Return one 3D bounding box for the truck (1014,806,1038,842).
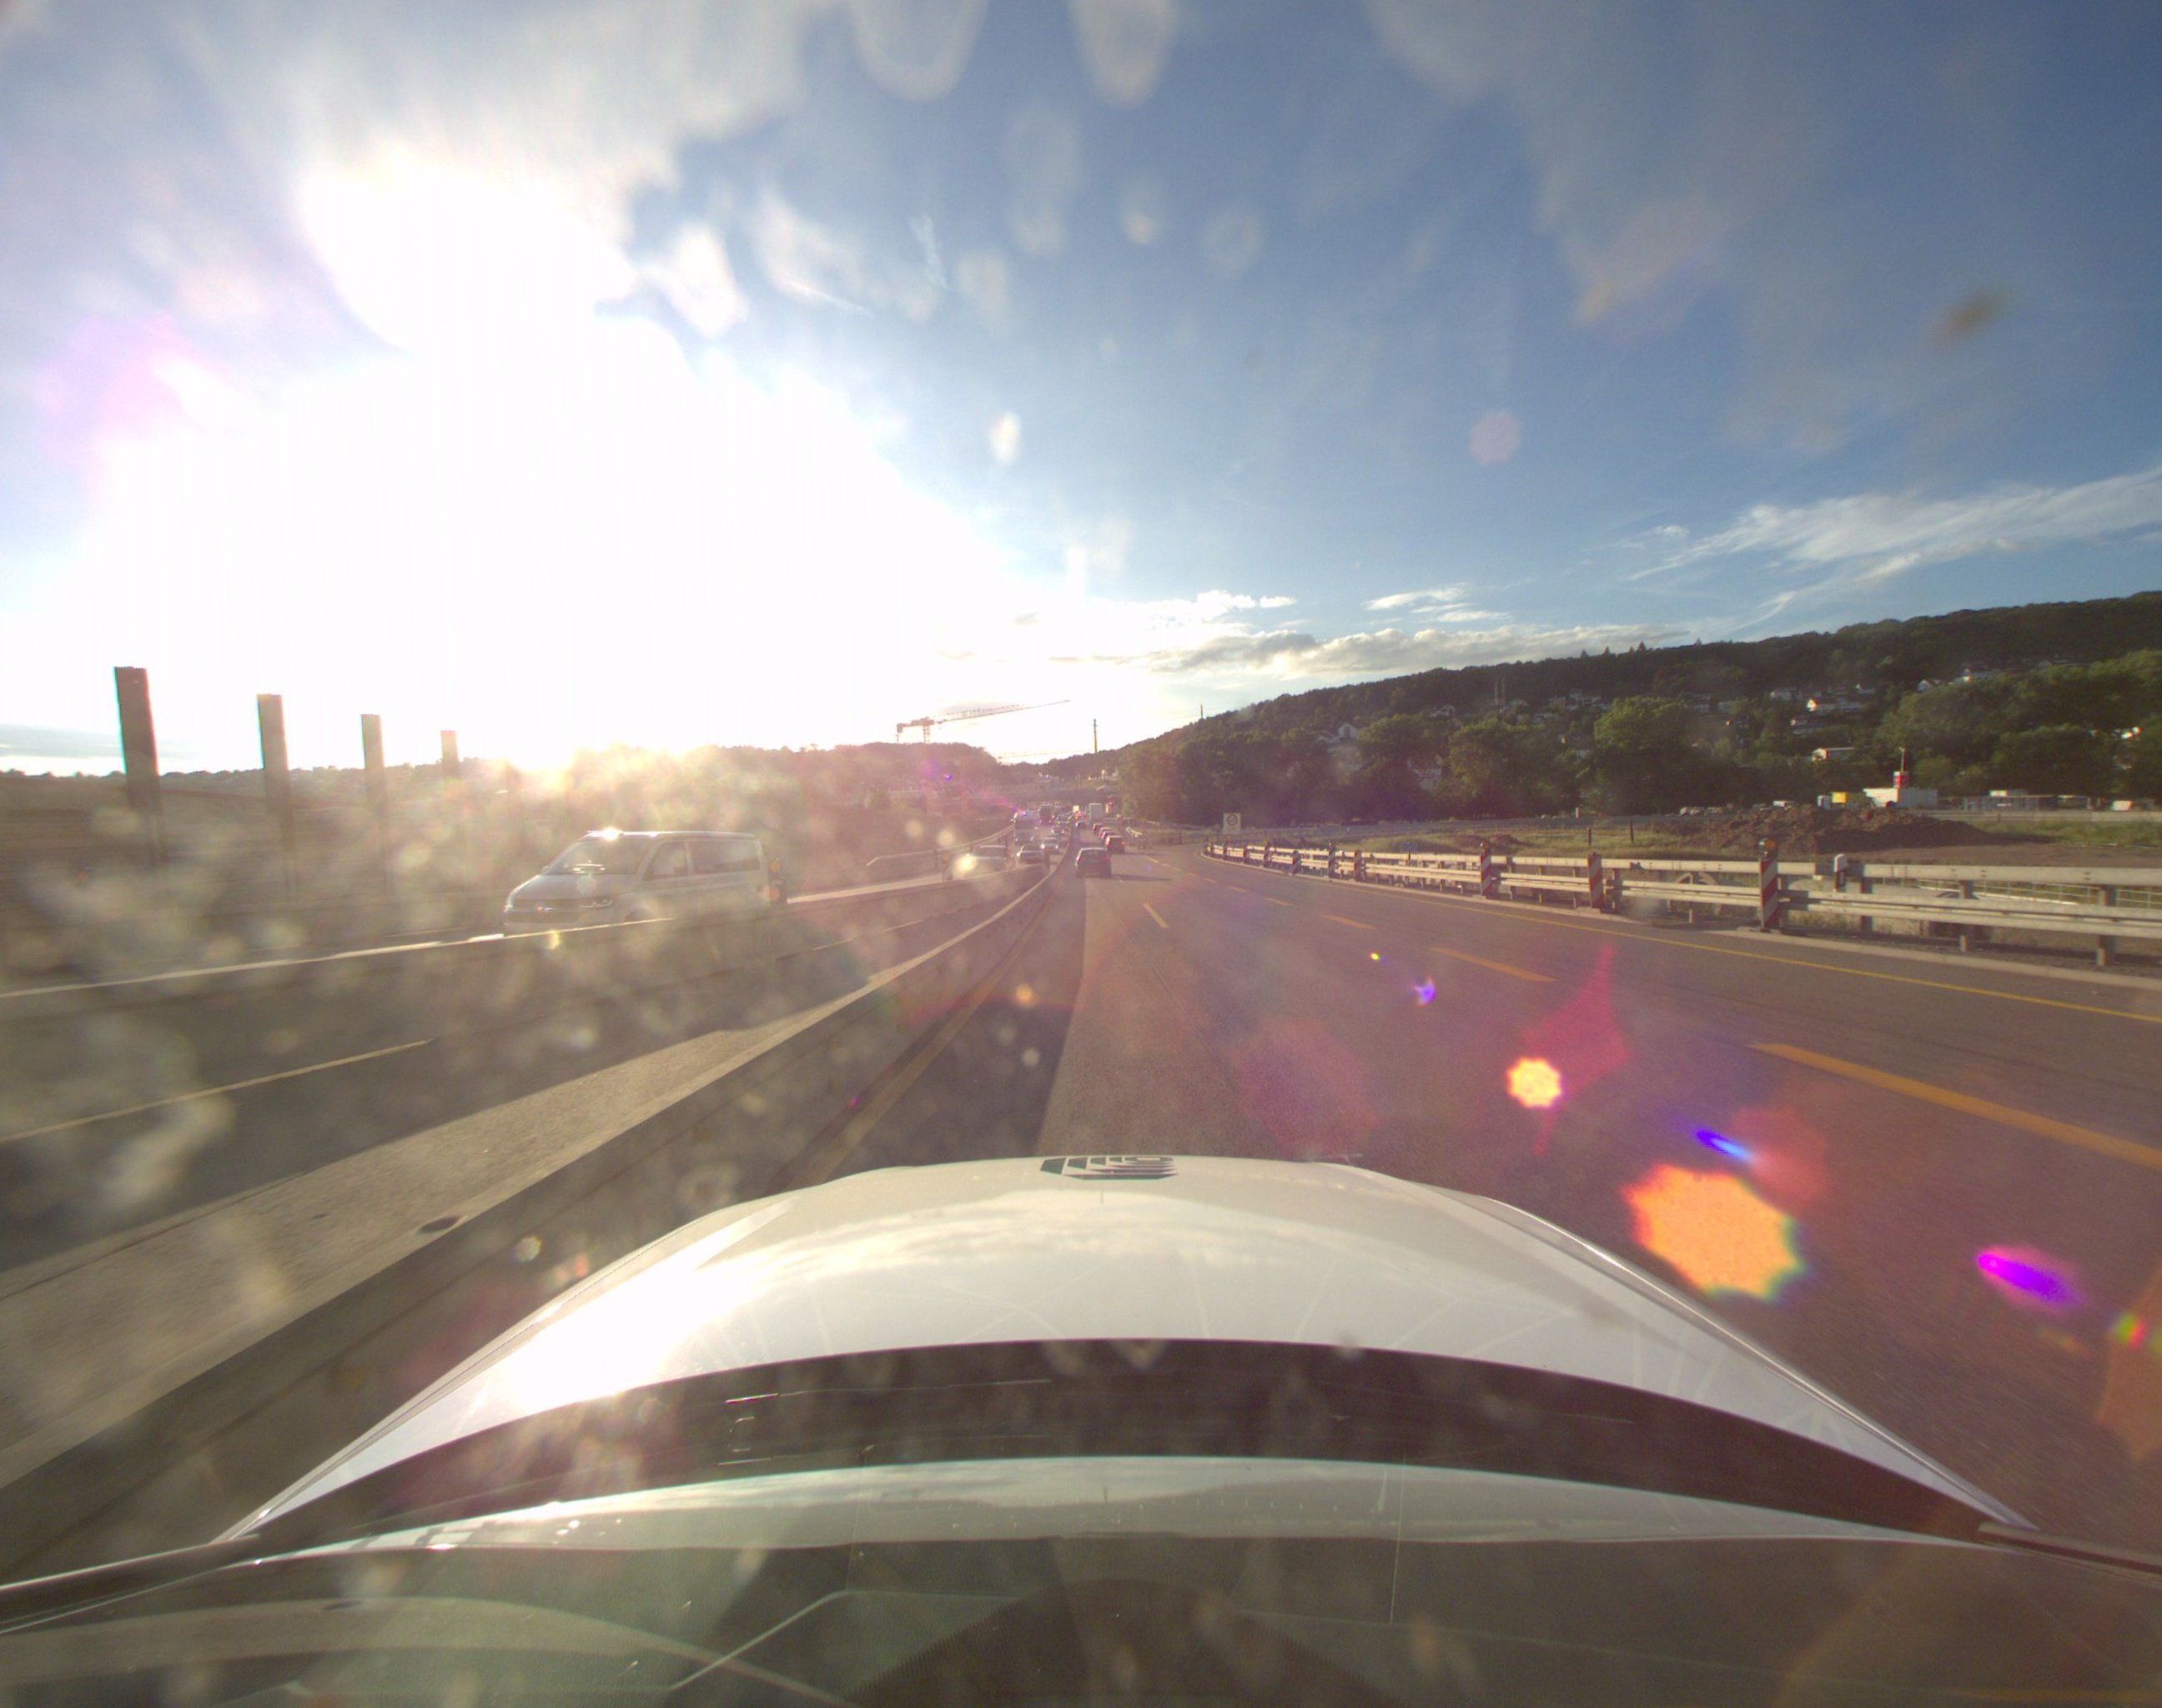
[{"bbox_3d":[-6.726,-3.673,100.716,2.545,4.220,6.049,0,1,0],"label":"truck"}]

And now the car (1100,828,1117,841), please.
[{"bbox_3d":[3.695,-2.645,110.226,1.870,1.599,4.964,-1,3,-1],"label":"car"}]

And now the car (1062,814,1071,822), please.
[{"bbox_3d":[-3.517,-8.617,196.523,1.987,1.793,4.000,0,1,0],"label":"car"}]

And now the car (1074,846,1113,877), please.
[{"bbox_3d":[0.568,0.336,40.600,1.765,1.390,3.997,-1,1,-2],"label":"car"}]

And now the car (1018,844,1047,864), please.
[{"bbox_3d":[-3.526,-0.021,60.257,1.782,1.357,4.637,0,1,1],"label":"car"}]

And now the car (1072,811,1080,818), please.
[{"bbox_3d":[-1.306,-10.110,209.491,1.917,1.552,4.001,-1,2,0],"label":"car"}]

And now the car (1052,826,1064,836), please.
[{"bbox_3d":[-3.517,-3.569,125.232,1.831,1.409,4.495,-1,2,0],"label":"car"}]

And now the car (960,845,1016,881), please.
[{"bbox_3d":[-4.448,0.406,39.507,1.780,1.619,4.880,0,1,5],"label":"car"}]

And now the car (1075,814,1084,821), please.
[{"bbox_3d":[-0.305,-8.337,186.869,1.917,1.552,4.000,-1,0,0],"label":"car"}]

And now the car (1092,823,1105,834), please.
[{"bbox_3d":[2.675,-3.964,126.844,1.809,1.631,4.411,-1,3,-1],"label":"car"}]

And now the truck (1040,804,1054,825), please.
[{"bbox_3d":[-6.888,-8.045,164.349,2.762,4.079,5.774,-1,3,-2],"label":"truck"}]

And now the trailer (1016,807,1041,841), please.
[{"bbox_3d":[-6.811,-3.853,106.673,2.523,4.213,13.930,0,1,-1],"label":"trailer"}]

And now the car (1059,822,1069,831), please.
[{"bbox_3d":[-2.914,-4.780,140.612,1.710,1.409,4.327,-1,2,0],"label":"car"}]

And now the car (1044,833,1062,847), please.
[{"bbox_3d":[-3.220,-1.639,94.524,1.843,1.483,4.512,-2,1,1],"label":"car"}]

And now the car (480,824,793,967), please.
[{"bbox_3d":[-7.294,0.570,14.225,1.982,2.013,5.270,0,0,9],"label":"car"}]

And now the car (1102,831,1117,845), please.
[{"bbox_3d":[3.392,-1.927,97.358,1.768,1.586,4.135,0,0,1],"label":"car"}]

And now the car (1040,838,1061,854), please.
[{"bbox_3d":[-2.904,-0.807,77.849,1.782,1.488,4.221,0,1,1],"label":"car"}]

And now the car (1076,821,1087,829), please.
[{"bbox_3d":[0.078,-5.226,146.225,1.857,1.420,4.001,-1,2,0],"label":"car"}]

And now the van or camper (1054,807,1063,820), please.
[{"bbox_3d":[-6.216,-11.194,225.403,2.450,3.496,7.414,-1,4,-1],"label":"van or camper"}]

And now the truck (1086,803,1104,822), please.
[{"bbox_3d":[3.351,-10.230,198.408,3.878,4.496,15.269,0,4,0],"label":"truck"}]

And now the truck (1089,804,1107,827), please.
[{"bbox_3d":[3.455,-8.162,168.903,3.374,4.496,15.271,0,3,0],"label":"truck"}]

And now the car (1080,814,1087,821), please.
[{"bbox_3d":[0.747,-9.992,223.987,1.917,1.552,3.999,1,-1,0],"label":"car"}]

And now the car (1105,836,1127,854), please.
[{"bbox_3d":[3.296,-0.853,76.830,1.807,1.615,4.524,0,0,-1],"label":"car"}]
